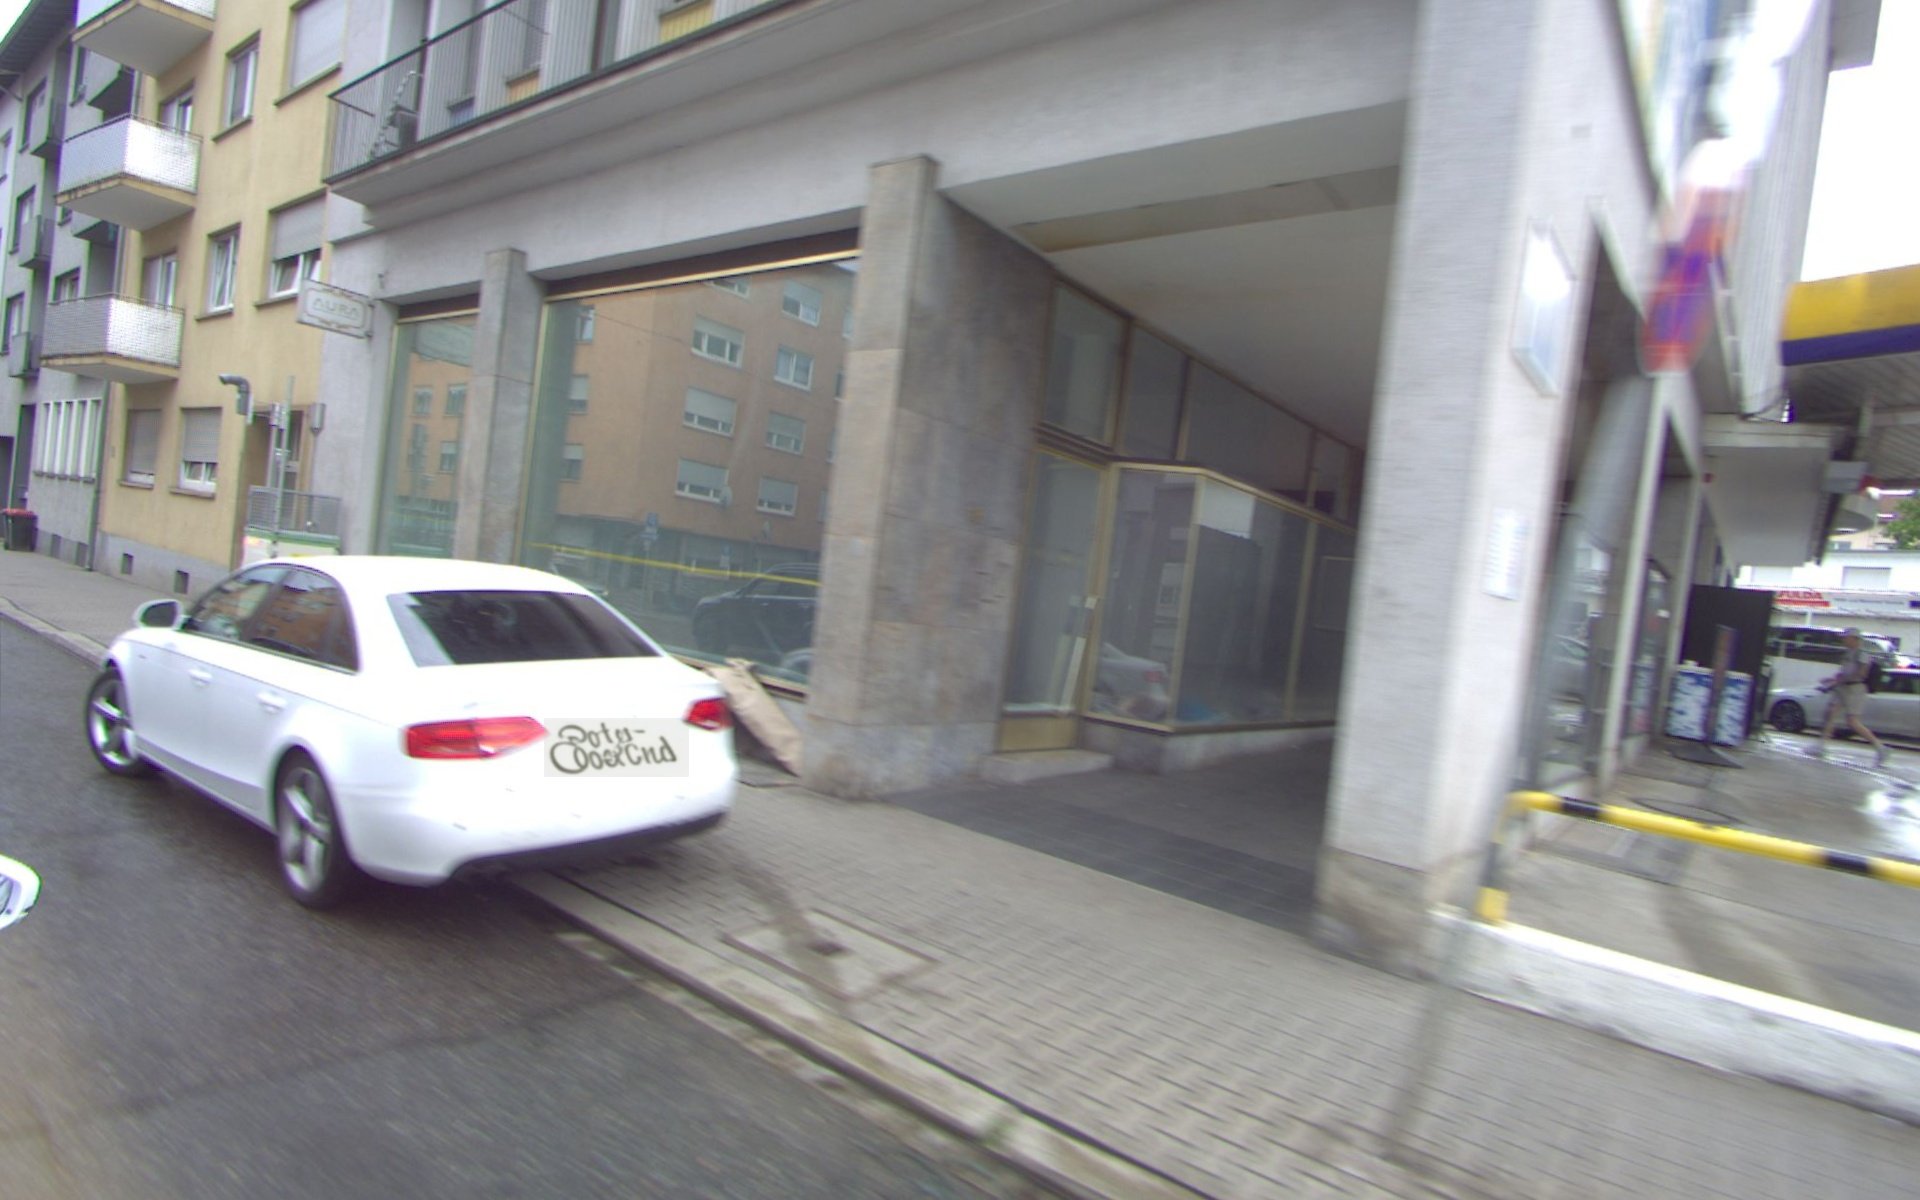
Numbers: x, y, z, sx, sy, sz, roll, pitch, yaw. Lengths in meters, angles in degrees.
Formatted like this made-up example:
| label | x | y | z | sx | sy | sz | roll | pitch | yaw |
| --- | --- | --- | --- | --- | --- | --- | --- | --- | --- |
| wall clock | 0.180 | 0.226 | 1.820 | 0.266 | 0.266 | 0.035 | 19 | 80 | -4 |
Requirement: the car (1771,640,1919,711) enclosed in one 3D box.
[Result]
| label | x | y | z | sx | sy | sz | roll | pitch | yaw |
| --- | --- | --- | --- | --- | --- | --- | --- | --- | --- |
| car | 25.463 | 2.154 | 27.859 | 1.784 | 1.495 | 4.184 | 9 | 0 | -23 |

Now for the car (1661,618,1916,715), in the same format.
| label | x | y | z | sx | sy | sz | roll | pitch | yaw |
| --- | --- | --- | --- | --- | --- | --- | --- | --- | --- |
| car | 21.267 | 1.642 | 26.088 | 1.974 | 1.887 | 4.555 | 8 | -1 | -23 |

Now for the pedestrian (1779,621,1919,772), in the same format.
| label | x | y | z | sx | sy | sz | roll | pitch | yaw |
| --- | --- | --- | --- | --- | --- | --- | --- | --- | --- |
| pedestrian | 11.958 | 1.252 | 13.451 | 1.269 | 1.821 | 0.652 | 6 | 3 | 27 |

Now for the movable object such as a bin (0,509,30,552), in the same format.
| label | x | y | z | sx | sy | sz | roll | pitch | yaw |
| --- | --- | --- | --- | --- | --- | --- | --- | --- | --- |
| movable object such as a bin | -22.776 | -1.668 | 24.184 | 0.467 | 0.976 | 0.561 | 8 | 5 | 41 |

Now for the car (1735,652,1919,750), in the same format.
| label | x | y | z | sx | sy | sz | roll | pitch | yaw |
| --- | --- | --- | --- | --- | --- | --- | --- | --- | --- |
| car | 17.818 | 1.977 | 19.228 | 1.968 | 1.535 | 4.406 | 5 | 0 | -14 |

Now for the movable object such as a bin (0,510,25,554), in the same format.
| label | x | y | z | sx | sy | sz | roll | pitch | yaw |
| --- | --- | --- | --- | --- | --- | --- | --- | --- | --- |
| movable object such as a bin | -22.438 | -1.607 | 23.749 | 0.556 | 0.976 | 0.471 | 8 | 5 | 40 |

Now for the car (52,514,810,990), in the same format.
| label | x | y | z | sx | sy | sz | roll | pitch | yaw |
| --- | --- | --- | --- | --- | --- | --- | --- | --- | --- |
| car | -3.143 | 0.400 | 5.539 | 4.537 | 1.423 | 1.889 | 7 | 6 | 36 |
